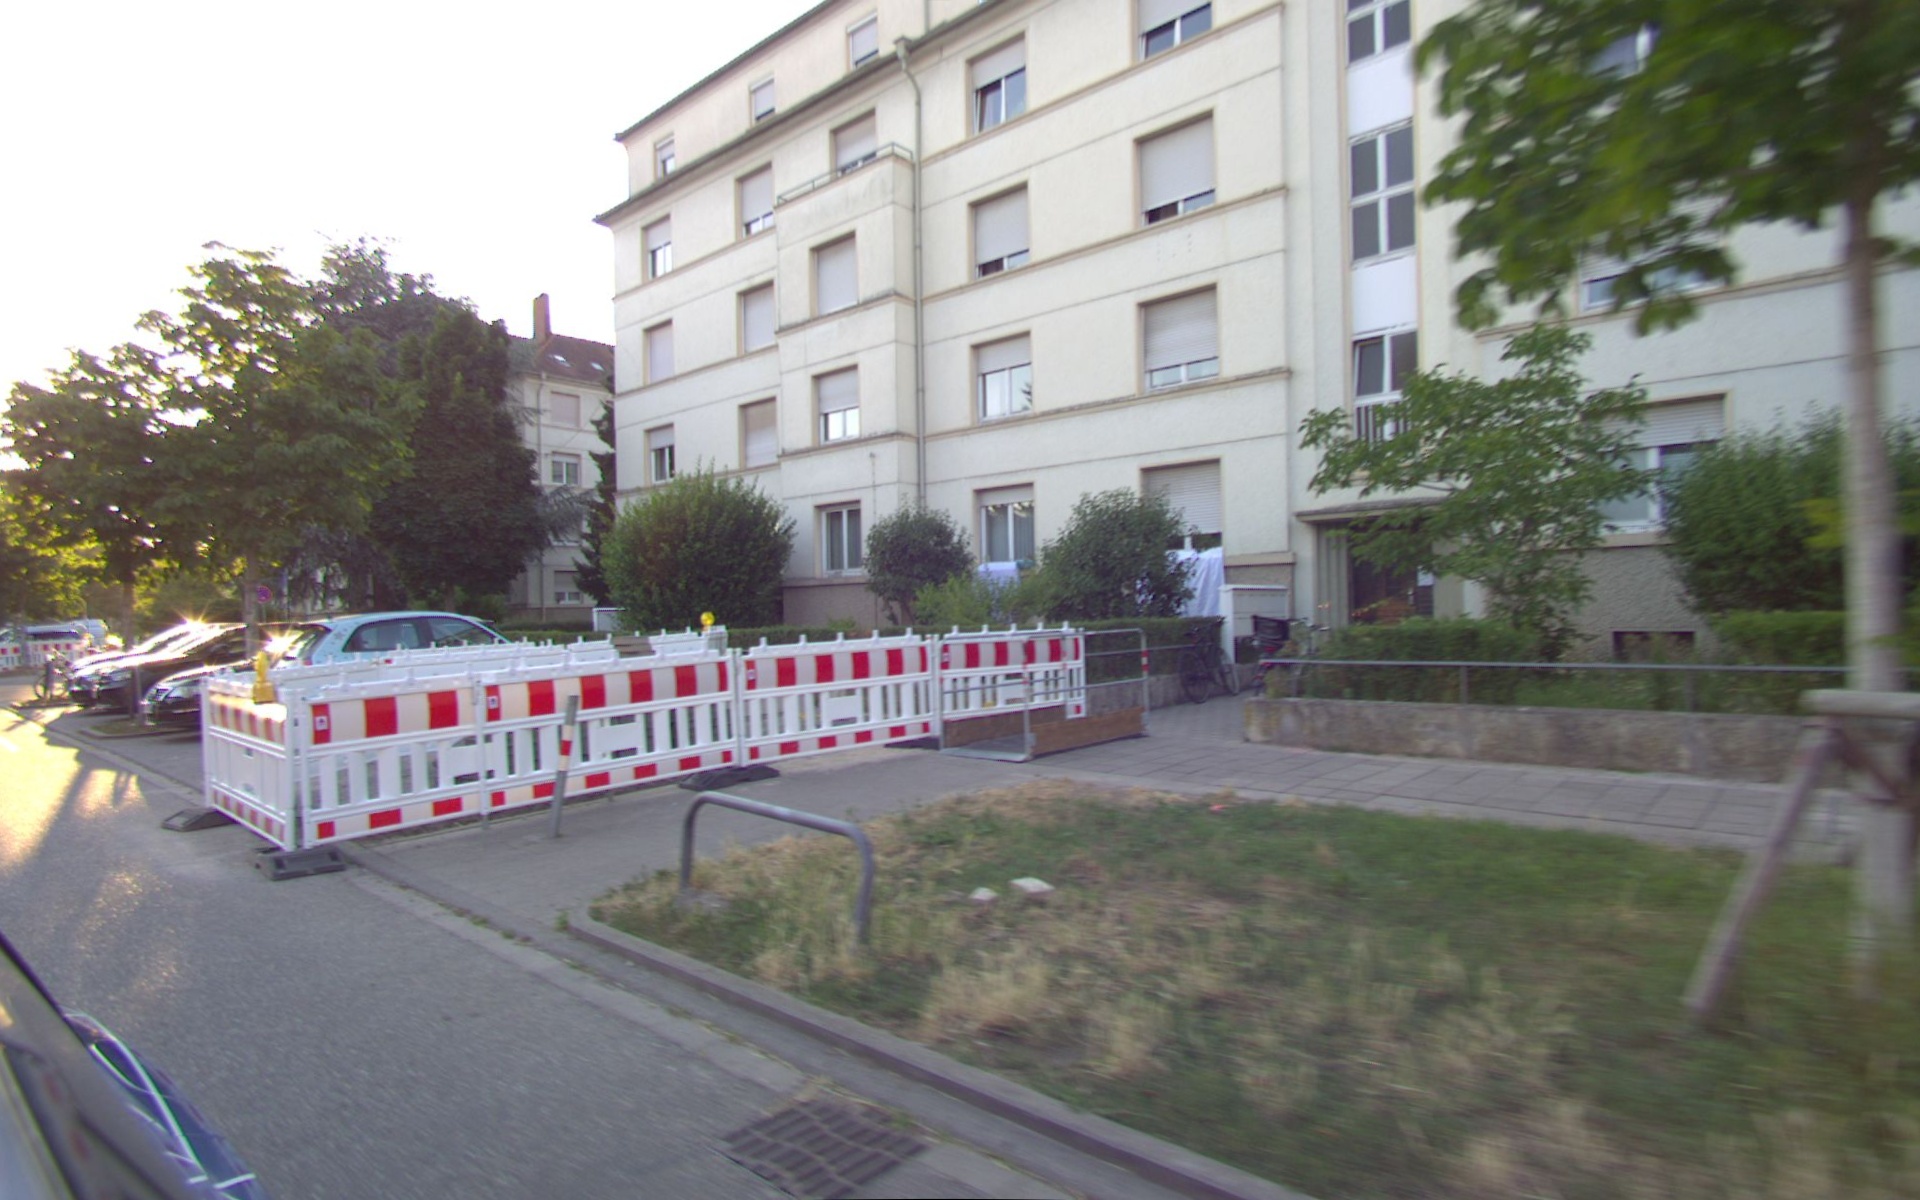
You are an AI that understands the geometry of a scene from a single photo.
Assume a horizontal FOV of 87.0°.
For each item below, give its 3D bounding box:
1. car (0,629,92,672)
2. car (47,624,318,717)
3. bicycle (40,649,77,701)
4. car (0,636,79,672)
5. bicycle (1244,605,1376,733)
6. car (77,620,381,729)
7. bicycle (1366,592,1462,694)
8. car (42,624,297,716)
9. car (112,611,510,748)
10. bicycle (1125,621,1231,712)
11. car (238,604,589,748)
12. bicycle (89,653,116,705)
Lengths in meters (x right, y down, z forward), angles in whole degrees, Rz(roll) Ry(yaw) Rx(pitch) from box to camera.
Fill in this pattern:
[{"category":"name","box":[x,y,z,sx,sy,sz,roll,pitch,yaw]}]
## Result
[{"category":"car","box":[-48.787,2.649,53.206,4.719,2.085,2.002,0,-2,-44]},{"category":"car","box":[-14.541,1.254,19.068,1.607,1.395,3.801,-3,0,42]},{"category":"bicycle","box":[-20.378,1.679,22.870,1.628,1.104,0.442,-2,-2,42]},{"category":"car","box":[-47.262,2.719,51.110,4.072,1.696,2.002,0,-2,-44]},{"category":"bicycle","box":[3.747,0.678,10.733,0.540,1.195,2.007,-2,-1,42]},{"category":"car","box":[-12.511,1.193,17.492,1.728,1.495,3.987,-3,0,44]},{"category":"bicycle","box":[5.896,0.521,13.074,0.490,1.195,2.007,-2,-1,42]},{"category":"car","box":[-16.313,1.374,21.025,1.728,1.553,3.943,-3,0,44]},{"category":"car","box":[-9.038,1.010,14.510,1.723,1.495,4.471,-3,0,33]},{"category":"bicycle","box":[2.772,0.806,12.711,0.360,0.999,1.900,-3,-1,42]},{"category":"car","box":[-7.044,0.893,13.322,1.727,1.495,3.663,-3,0,40]},{"category":"bicycle","box":[-20.008,1.836,23.610,1.526,1.167,0.276,-3,-2,42]}]
